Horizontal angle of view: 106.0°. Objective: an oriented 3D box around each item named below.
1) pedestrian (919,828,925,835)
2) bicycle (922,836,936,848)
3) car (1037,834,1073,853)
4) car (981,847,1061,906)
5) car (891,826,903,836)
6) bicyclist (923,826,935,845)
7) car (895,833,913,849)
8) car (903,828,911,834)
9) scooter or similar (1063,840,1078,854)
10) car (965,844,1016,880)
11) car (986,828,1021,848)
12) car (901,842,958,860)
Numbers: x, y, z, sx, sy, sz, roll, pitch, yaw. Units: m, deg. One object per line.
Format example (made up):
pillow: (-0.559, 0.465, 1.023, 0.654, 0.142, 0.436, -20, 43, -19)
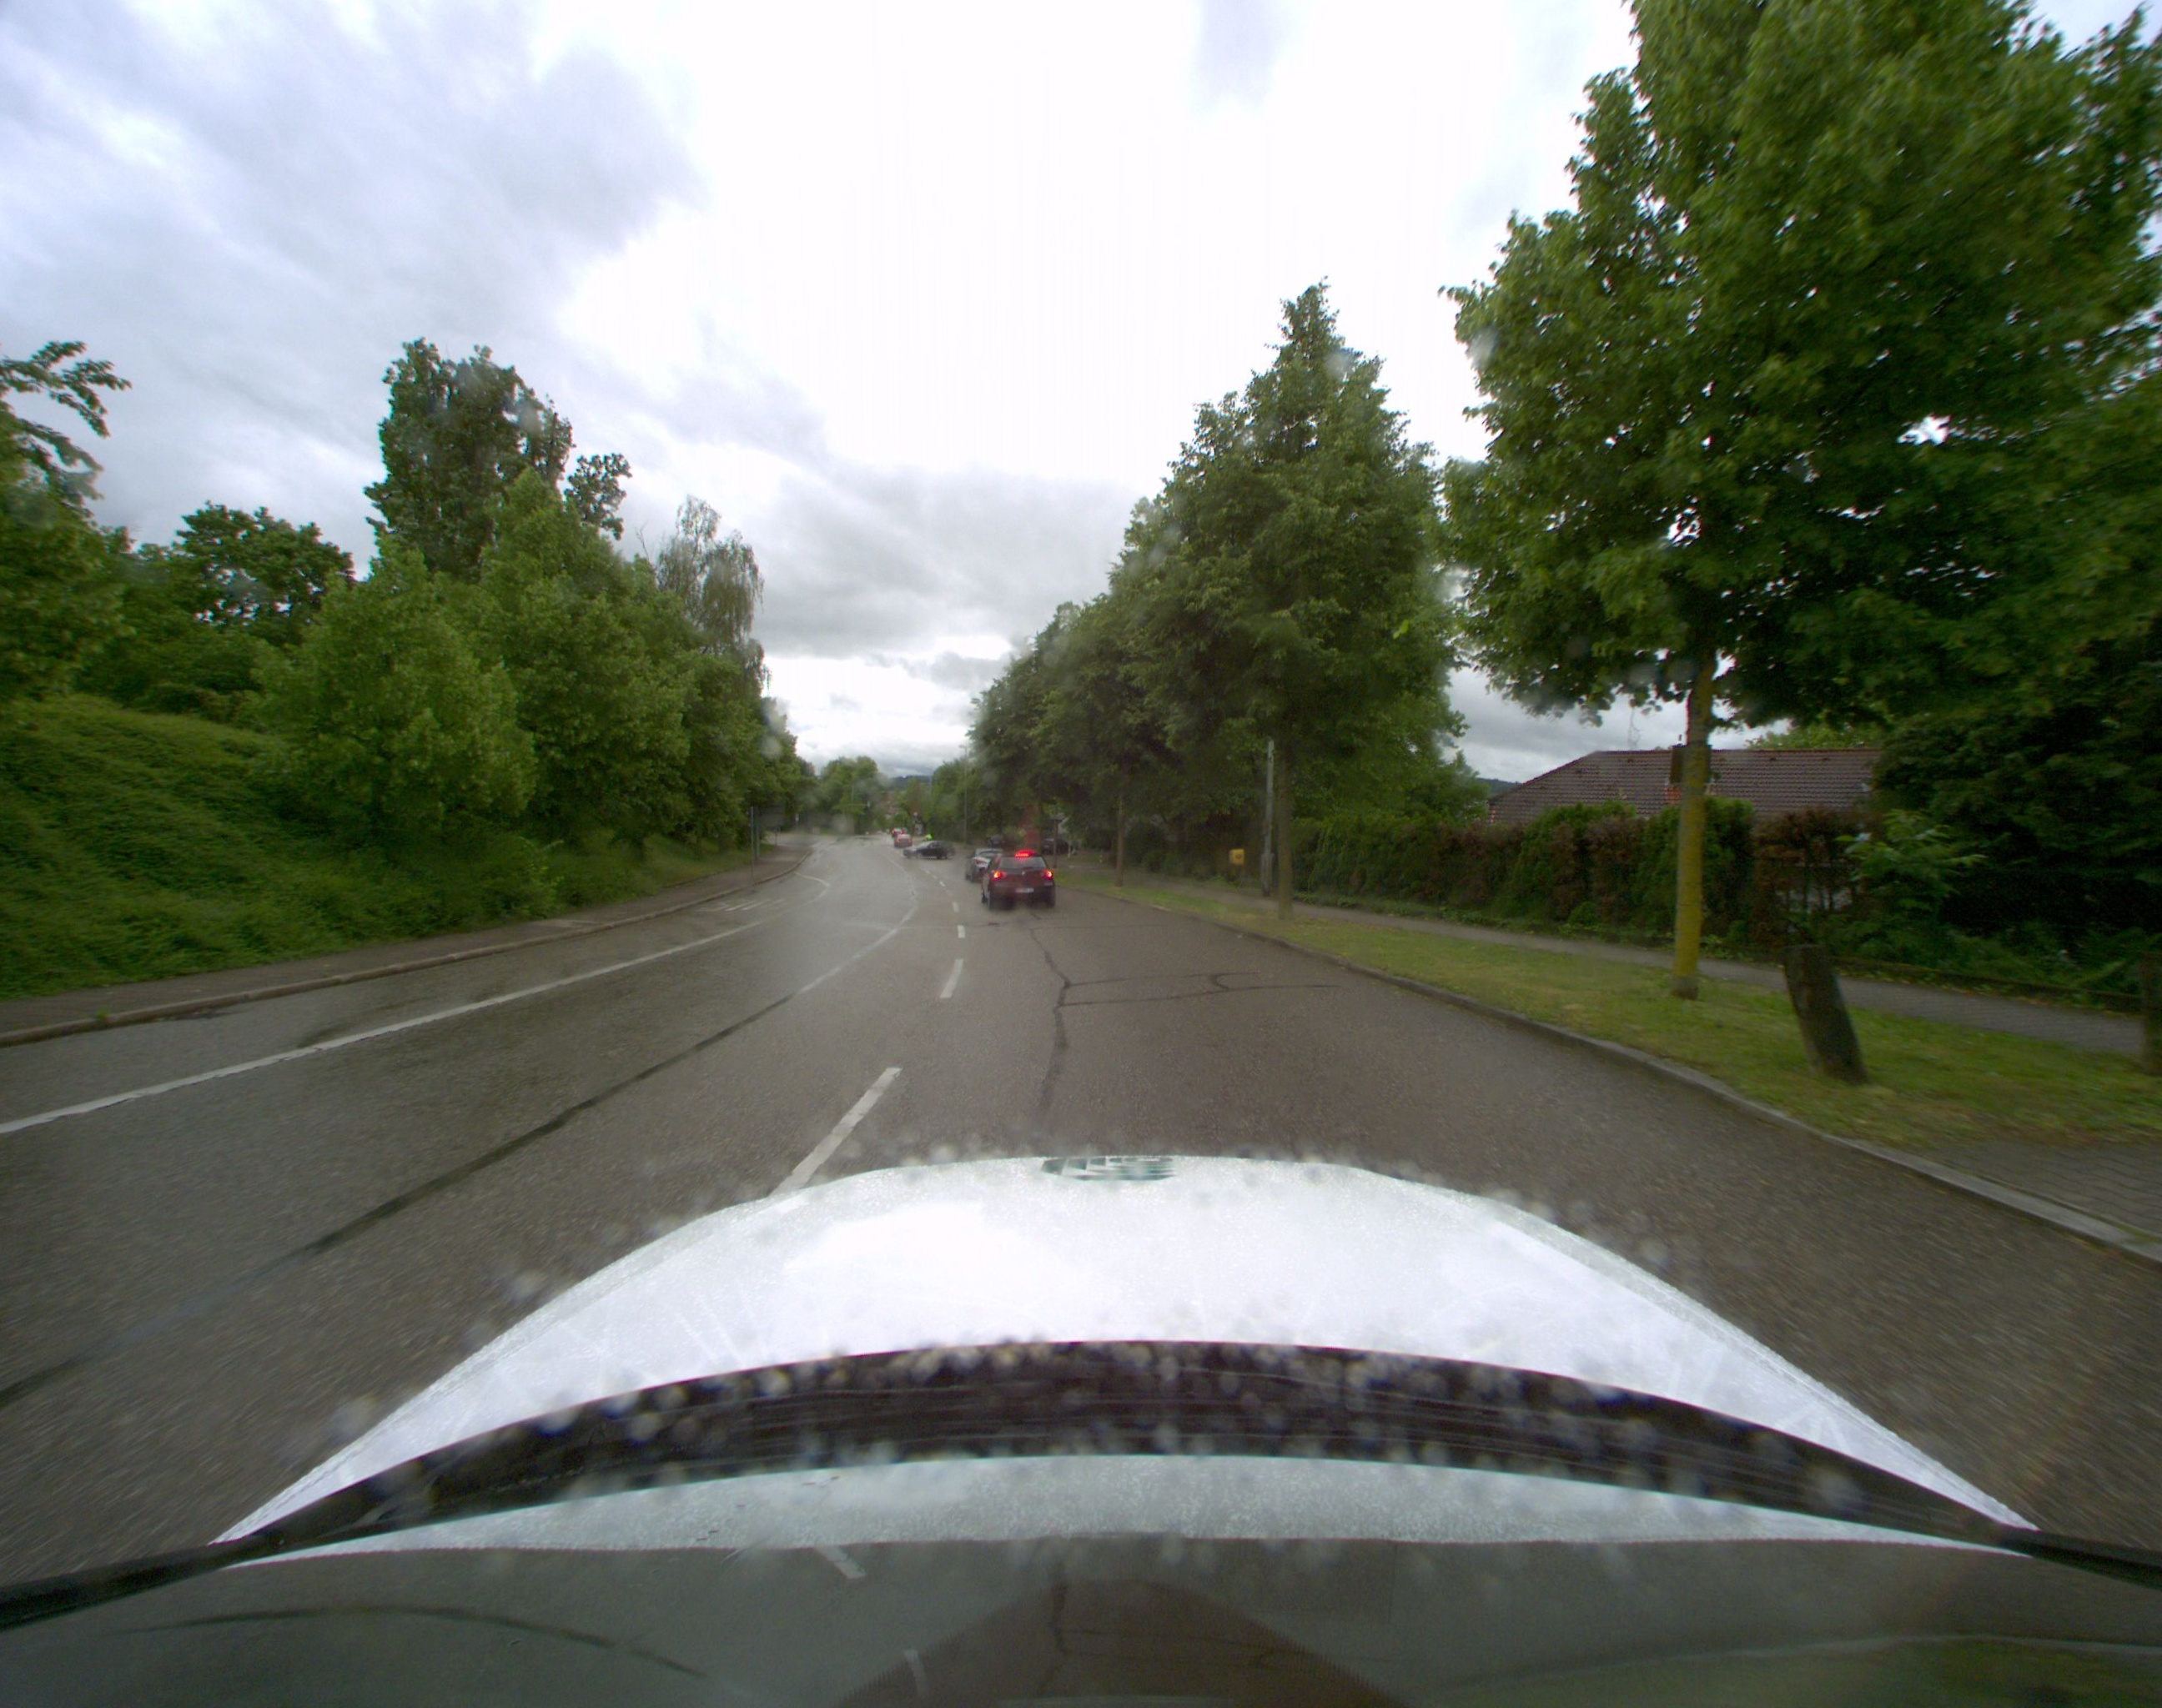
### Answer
pedestrian: (-30.756, -4.285, 157.214, 1.072, 1.355, 0.917, 0, 2, -5)
bicycle: (-14.508, -1.173, 77.678, 0.855, 1.155, 2.023, 0, 1, -23)
car: (-2.511, -1.036, 78.848, 1.736, 1.469, 4.592, 4, 5, 22)
car: (-1.725, 0.562, 22.346, 1.722, 1.464, 3.985, 1, 0, -11)
car: (-28.541, -3.499, 126.043, 1.723, 1.464, 3.983, 1, 1, -13)
bicyclist: (-14.502, -1.741, 77.662, 0.855, 1.755, 1.276, 0, 1, -23)
car: (-18.759, -1.369, 86.181, 1.723, 1.464, 3.983, 4, 1, -13)
car: (-42.730, -5.696, 200.358, 1.723, 1.464, 3.983, 4, 1, -13)
scooter or similar: (-0.974, -0.701, 76.929, 1.340, 1.285, 0.558, -1, 2, -22)
car: (-4.068, 0.315, 36.019, 1.757, 1.464, 3.982, 0, 1, -14)
car: (-7.592, -1.627, 80.258, 1.934, 1.688, 4.923, 3, 5, 13)
car: (-12.165, -0.223, 65.564, 4.156, 1.383, 1.709, 1, 0, -34)
